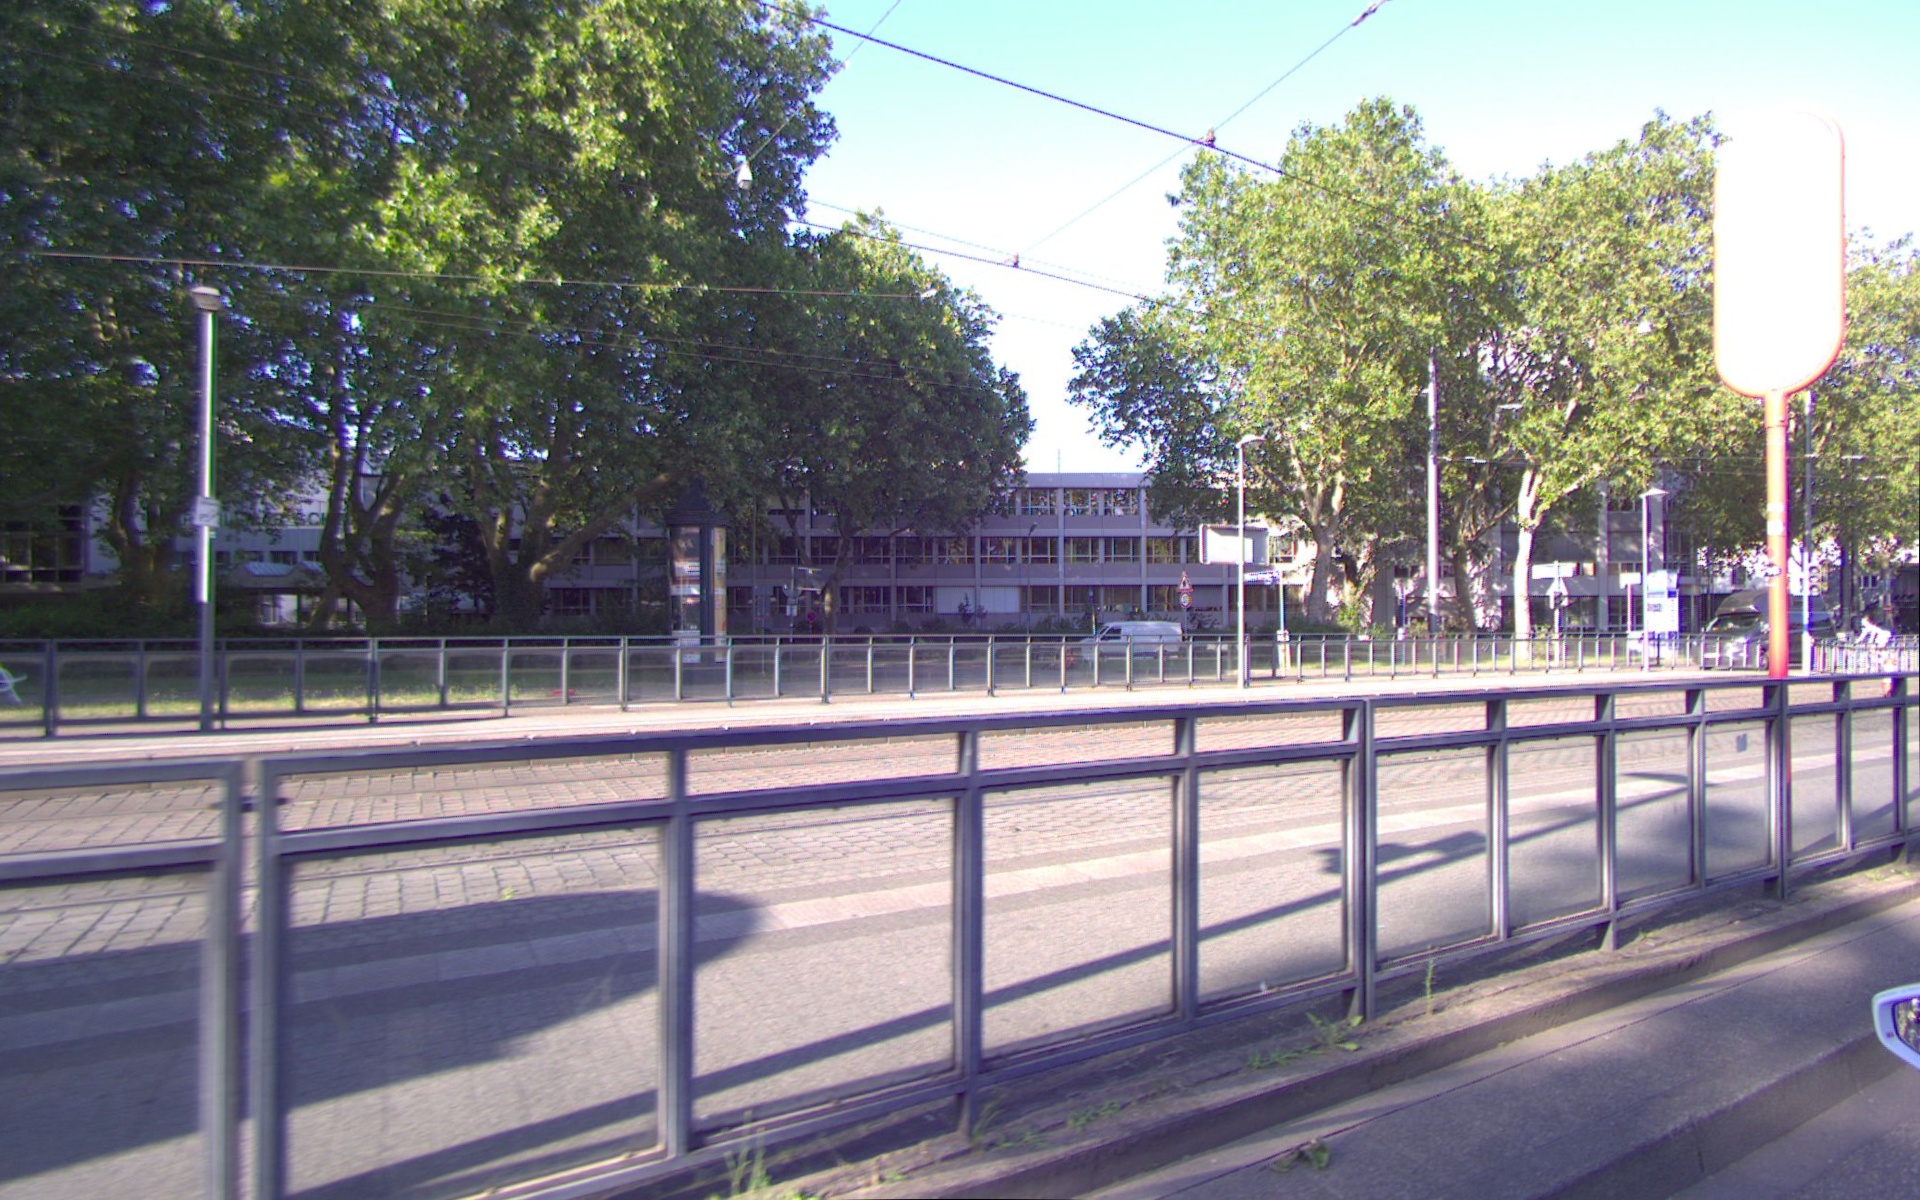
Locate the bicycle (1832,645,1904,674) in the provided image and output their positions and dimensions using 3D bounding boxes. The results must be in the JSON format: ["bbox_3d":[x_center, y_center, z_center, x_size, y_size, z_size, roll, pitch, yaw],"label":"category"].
[{"bbox_3d":[26.651,1.735,29.498,1.584,0.827,0.527,0,-1,5],"label":"bicycle"}]

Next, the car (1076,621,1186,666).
[{"bbox_3d":[9.436,2.388,55.740,5.616,2.366,2.156,1,-1,-7],"label":"car"}]

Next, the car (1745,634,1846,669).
[{"bbox_3d":[30.638,1.873,36.830,2.881,1.178,2.056,2,-1,-32],"label":"car"}]

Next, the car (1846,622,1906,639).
[{"bbox_3d":[80.535,2.676,88.351,3.925,1.530,1.798,0,-1,-6],"label":"car"}]

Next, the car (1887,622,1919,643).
[{"bbox_3d":[72.897,2.458,75.857,1.767,1.530,3.994,1,-1,-8],"label":"car"}]

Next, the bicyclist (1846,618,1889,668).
[{"bbox_3d":[26.655,1.251,29.501,0.786,1.433,0.527,0,-1,5],"label":"bicyclist"}]

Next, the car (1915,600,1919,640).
[{"bbox_3d":[80.854,1.611,80.697,6.413,3.207,2.501,0,-1,-7],"label":"car"}]

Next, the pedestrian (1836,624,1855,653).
[{"bbox_3d":[52.246,2.275,59.250,0.642,1.683,0.646,1,-1,-27],"label":"pedestrian"}]

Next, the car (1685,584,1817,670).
[{"bbox_3d":[27.347,0.957,34.685,4.976,2.779,2.055,2,-1,-33],"label":"car"}]
